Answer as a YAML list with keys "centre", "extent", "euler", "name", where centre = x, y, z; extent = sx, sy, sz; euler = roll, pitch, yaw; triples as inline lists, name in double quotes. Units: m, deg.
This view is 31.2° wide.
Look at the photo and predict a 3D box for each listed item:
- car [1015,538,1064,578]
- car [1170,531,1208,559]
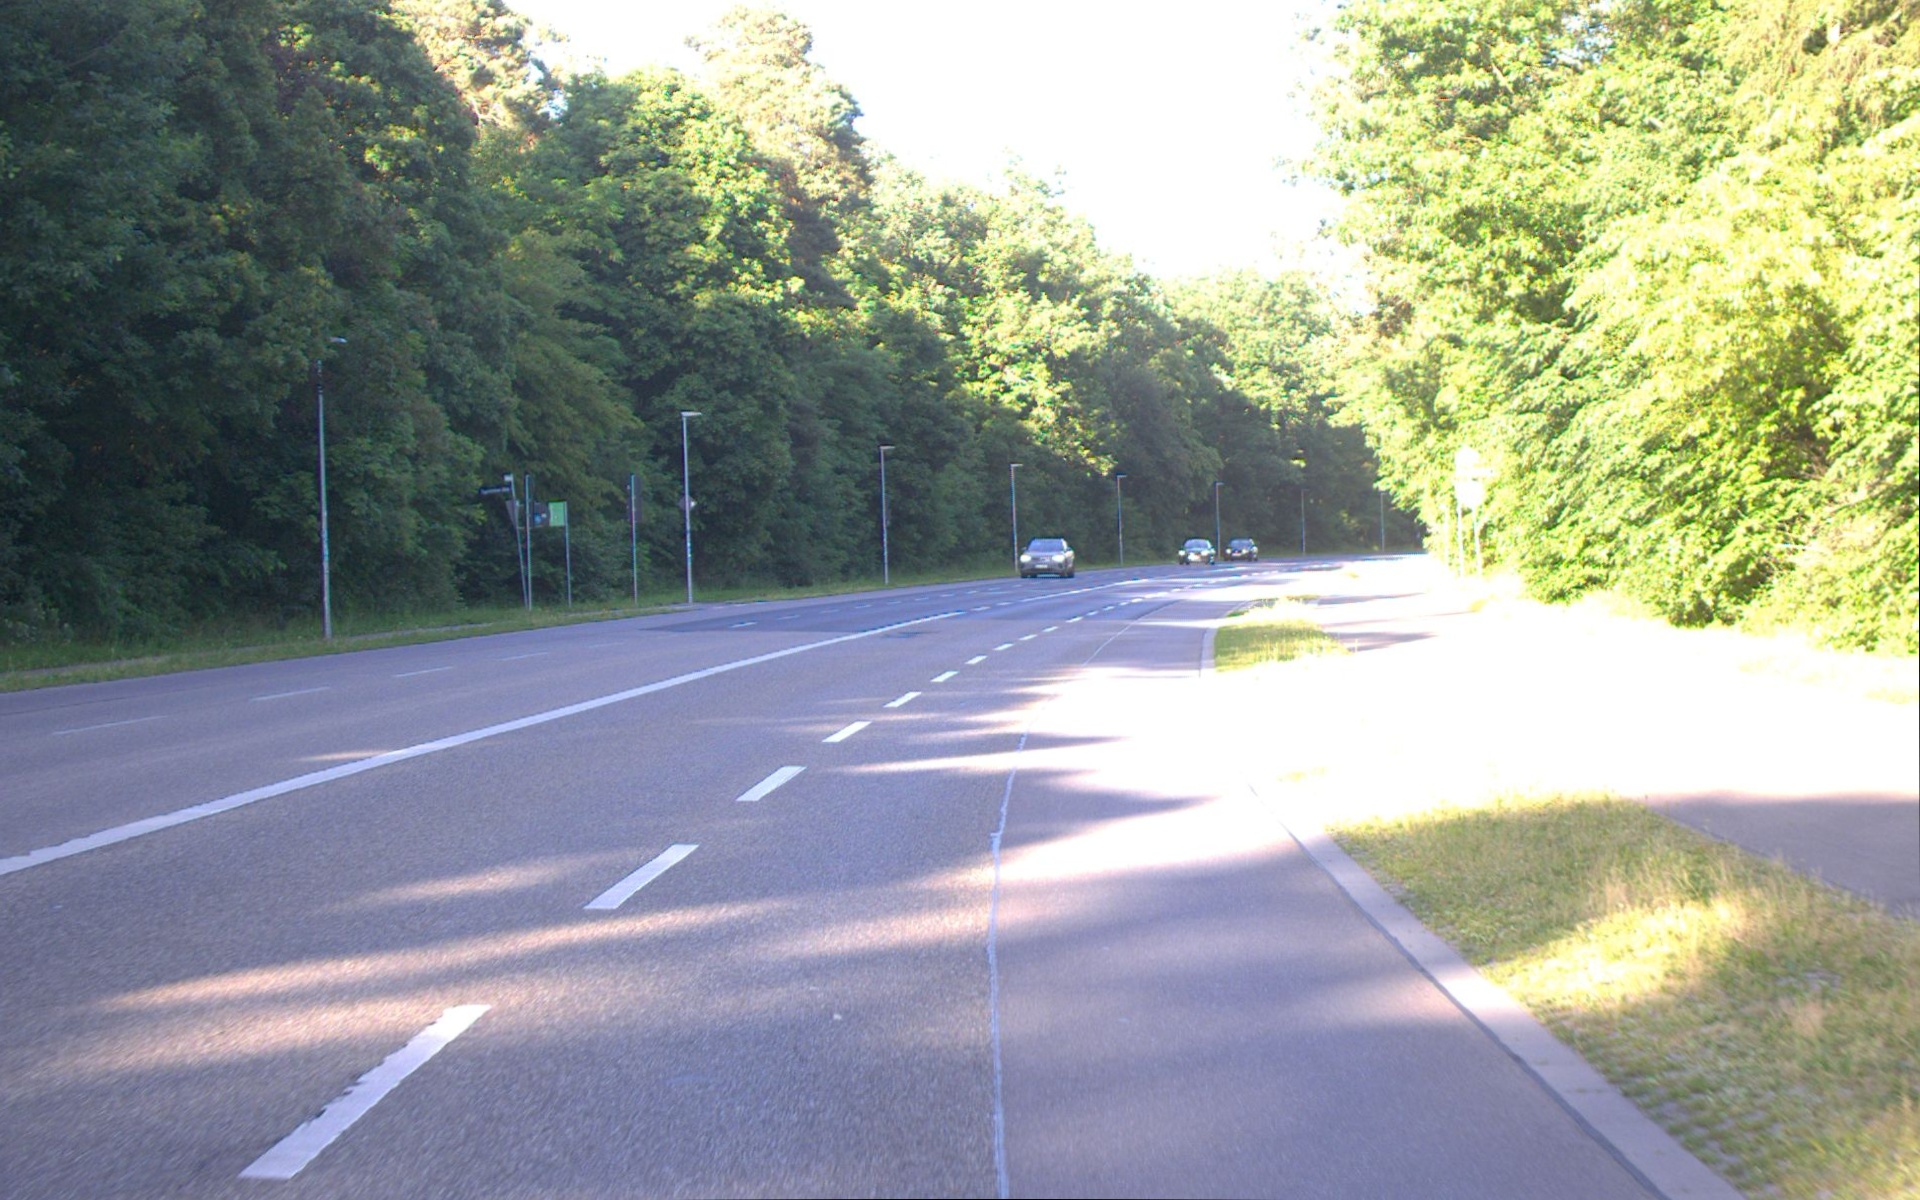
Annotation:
- centre: [3.264, -1.731, 141.395]
  extent: [1.993, 1.579, 4.000]
  euler: [0, 0, 1]
  name: "car"
- centre: [13.195, -3.166, 197.970]
  extent: [1.994, 1.579, 3.999]
  euler: [0, 0, 7]
  name: "car"
